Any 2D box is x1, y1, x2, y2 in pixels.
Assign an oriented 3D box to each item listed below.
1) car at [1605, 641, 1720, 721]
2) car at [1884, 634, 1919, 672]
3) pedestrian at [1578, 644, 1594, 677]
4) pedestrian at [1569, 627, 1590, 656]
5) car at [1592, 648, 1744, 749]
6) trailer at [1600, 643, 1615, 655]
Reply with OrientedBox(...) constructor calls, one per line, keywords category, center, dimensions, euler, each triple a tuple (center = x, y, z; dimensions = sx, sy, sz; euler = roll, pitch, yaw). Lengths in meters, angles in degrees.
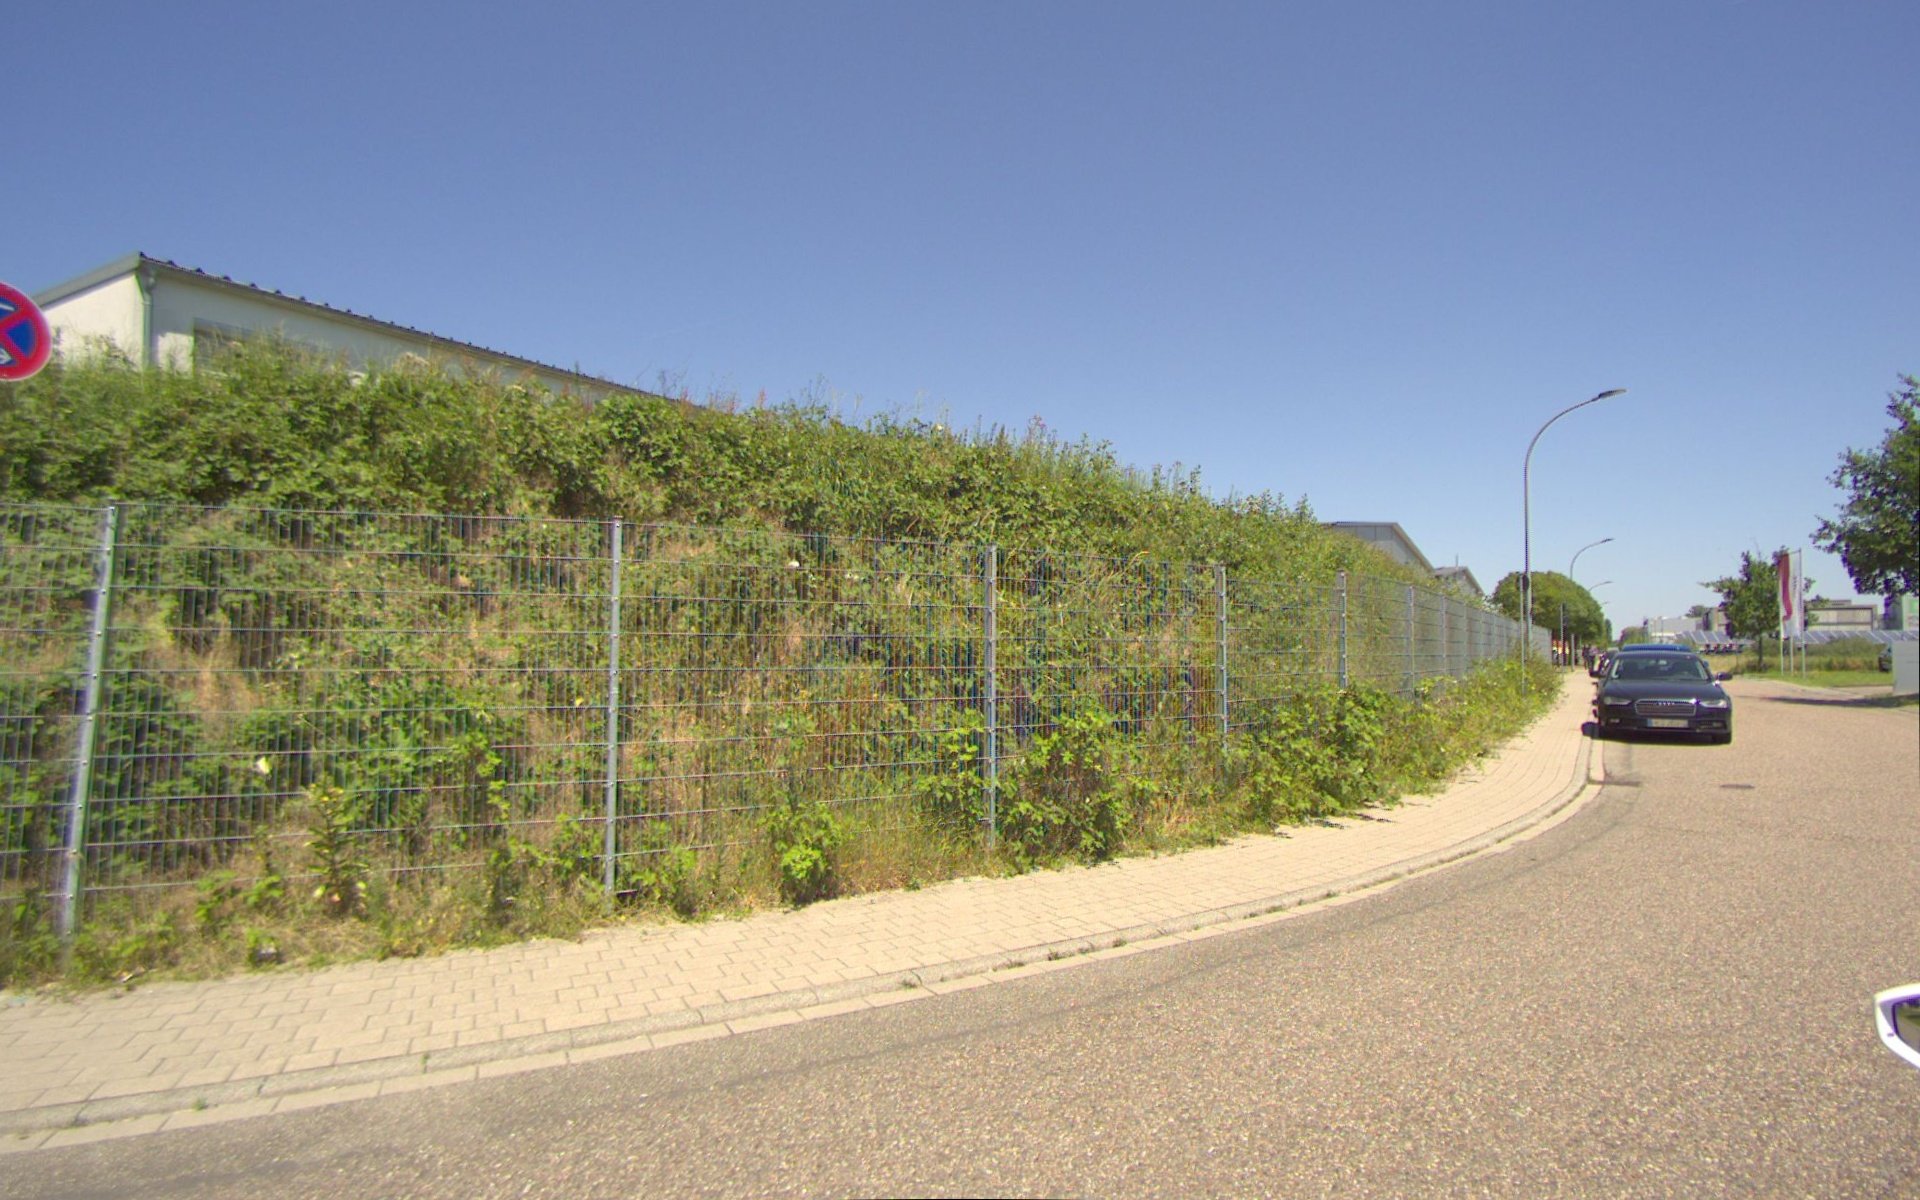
OrientedBox(category="car", center=(15.439, 1.730, 22.270), dimensions=(1.799, 1.591, 4.377), euler=(-2, -4, 32))
OrientedBox(category="car", center=(46.258, 2.429, 46.666), dimensions=(4.465, 1.714, 2.027), euler=(-4, -5, 31))
OrientedBox(category="pedestrian", center=(36.476, 3.513, 58.502), dimensions=(0.734, 1.825, 1.131), euler=(1, -2, 35))
OrientedBox(category="pedestrian", center=(43.514, 2.907, 70.513), dimensions=(0.949, 1.998, 0.840), euler=(2, -2, -17))
OrientedBox(category="car", center=(11.967, 1.581, 17.234), dimensions=(1.799, 1.473, 4.571), euler=(-2, -4, 32))
OrientedBox(category="trailer", center=(118.478, 8.970, 183.808), dimensions=(2.171, 2.165, 4.275), euler=(-2, -4, 33))
